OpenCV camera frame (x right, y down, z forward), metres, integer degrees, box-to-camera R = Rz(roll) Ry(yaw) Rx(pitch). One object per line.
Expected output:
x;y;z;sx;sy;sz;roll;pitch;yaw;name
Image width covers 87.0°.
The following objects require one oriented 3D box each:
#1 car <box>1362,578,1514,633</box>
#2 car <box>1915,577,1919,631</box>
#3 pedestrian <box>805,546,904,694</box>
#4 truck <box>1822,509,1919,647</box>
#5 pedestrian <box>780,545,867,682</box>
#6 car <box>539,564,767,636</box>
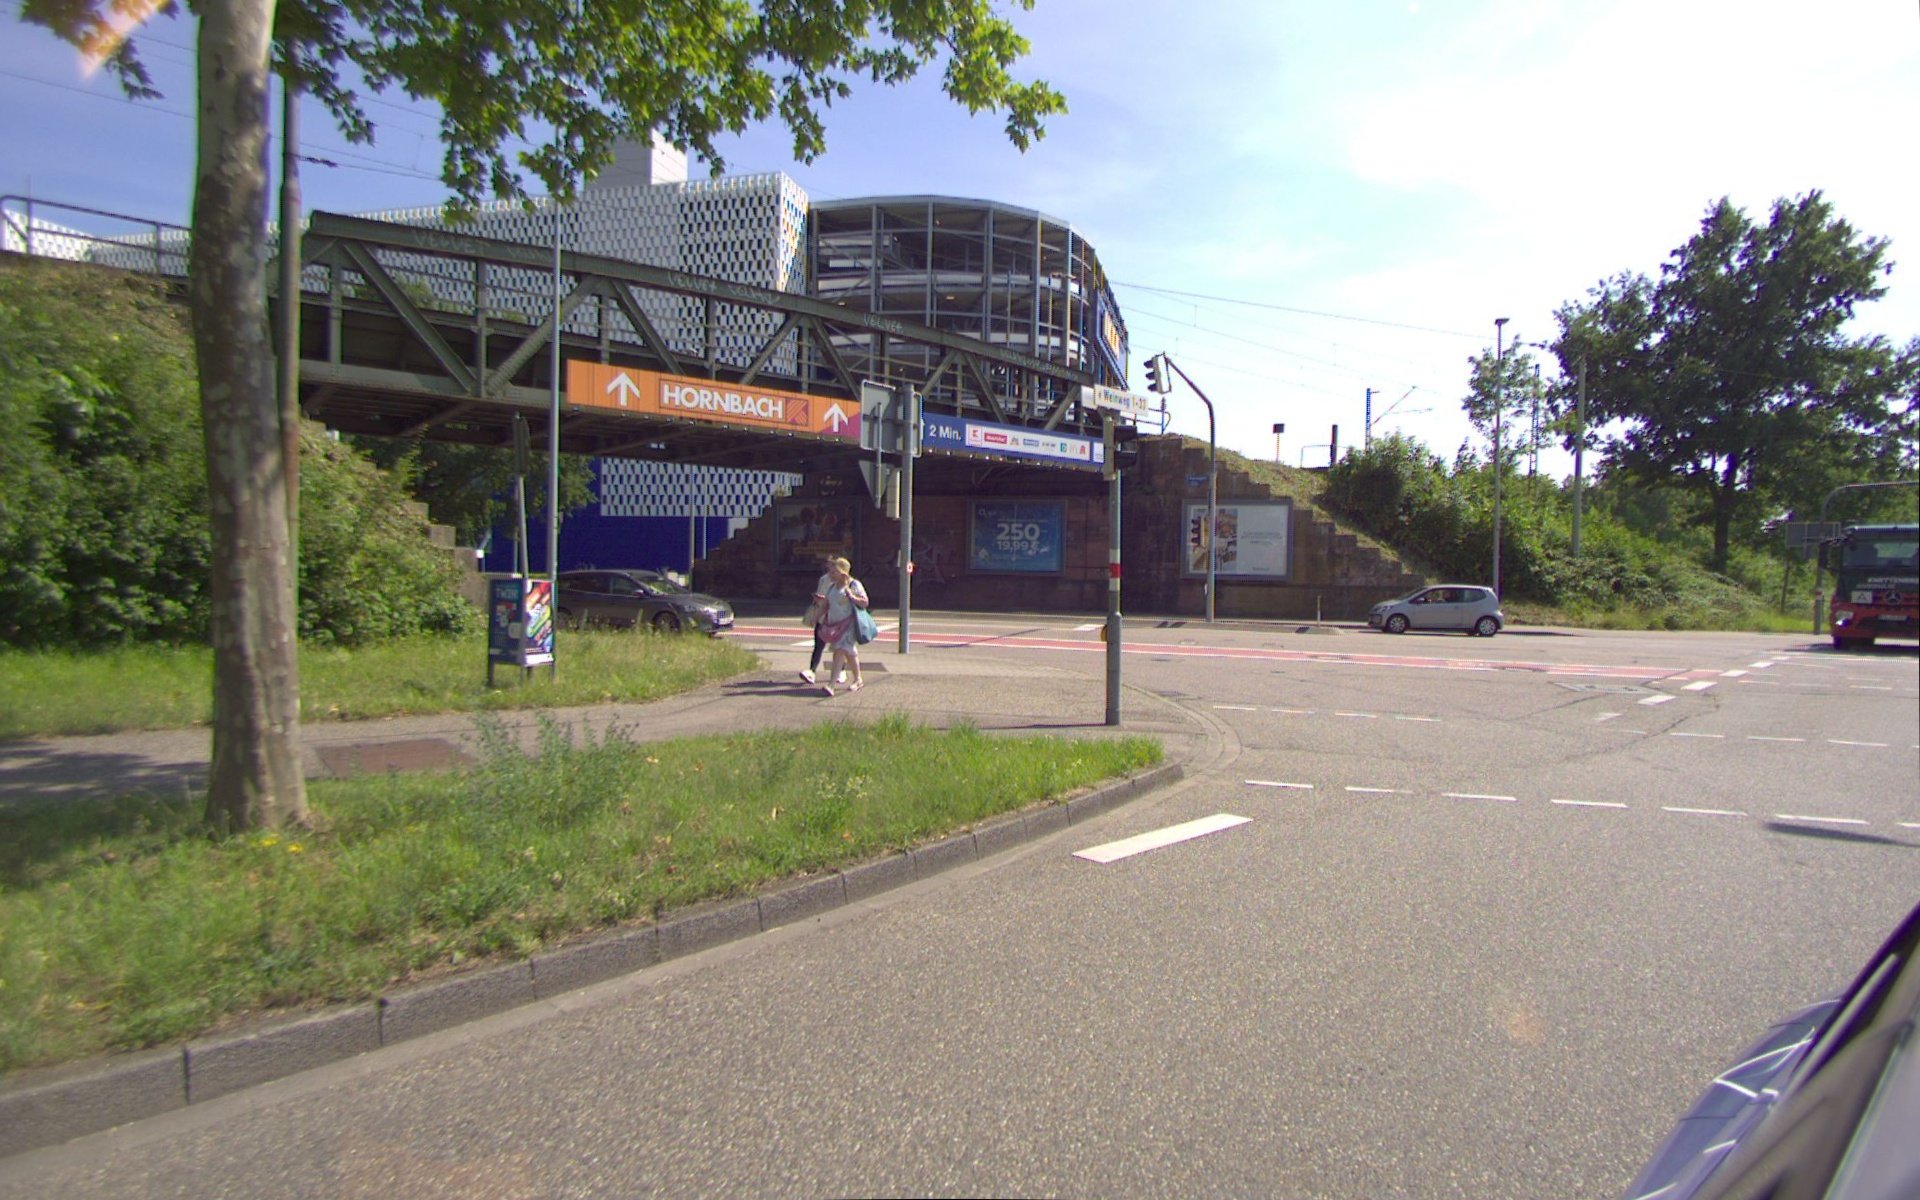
13.779;0.127;29.391;3.620;1.455;1.701;1;1;11;car
38.254;0.163;38.771;3.930;2.039;1.997;0;2;-41;car
-1.224;0.211;11.718;0.764;1.632;0.869;0;1;-41;pedestrian
25.442;-0.553;27.050;7.356;3.307;2.772;0;2;-43;truck
-1.680;0.148;12.419;0.764;1.599;0.730;0;1;-41;pedestrian
-6.710;-0.043;22.288;4.434;1.426;1.992;1;1;14;car
